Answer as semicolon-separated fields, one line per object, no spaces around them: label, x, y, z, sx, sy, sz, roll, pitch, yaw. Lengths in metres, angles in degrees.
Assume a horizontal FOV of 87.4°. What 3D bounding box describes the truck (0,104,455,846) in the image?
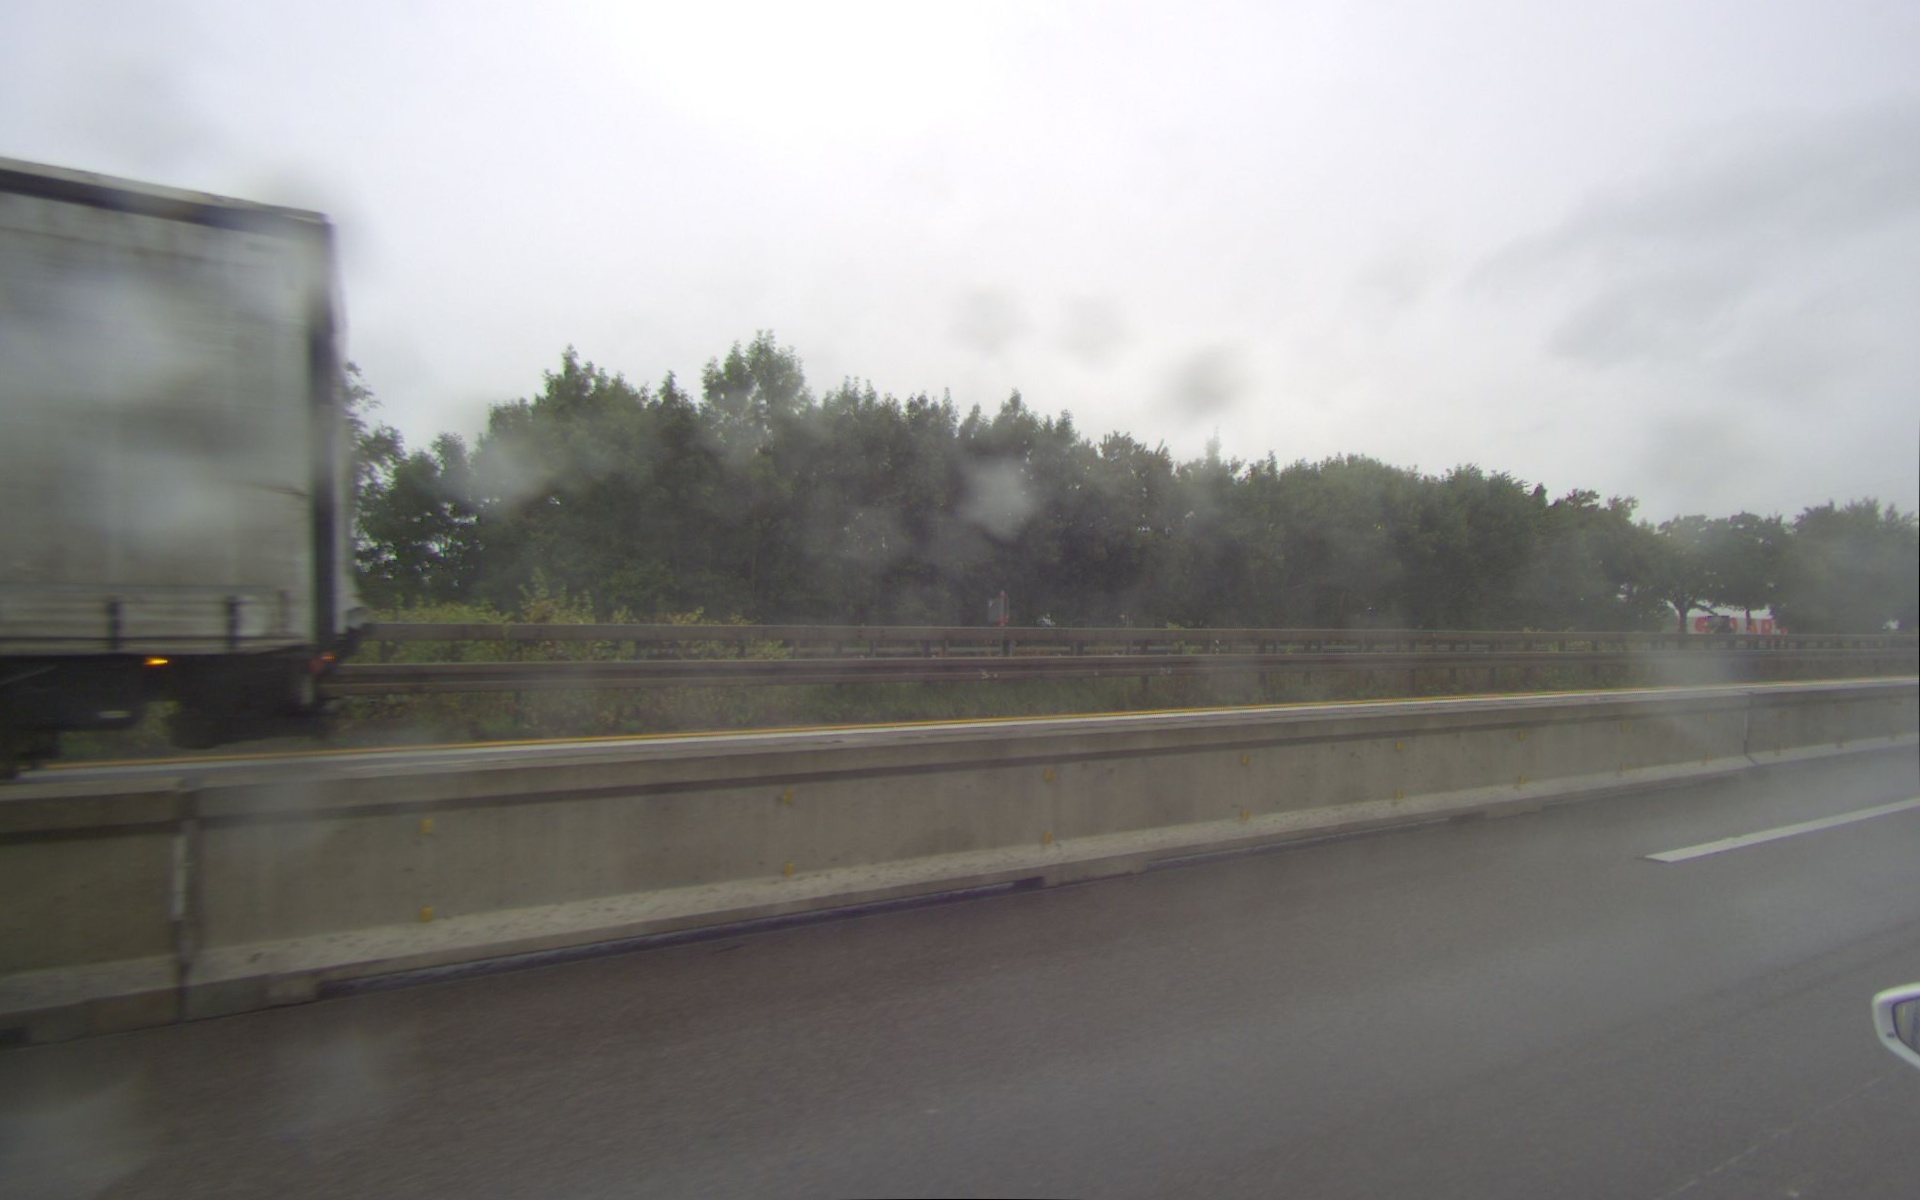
truck;-8.433;-0.785;5.662;9.718;4.220;2.990;3;-2;-31
